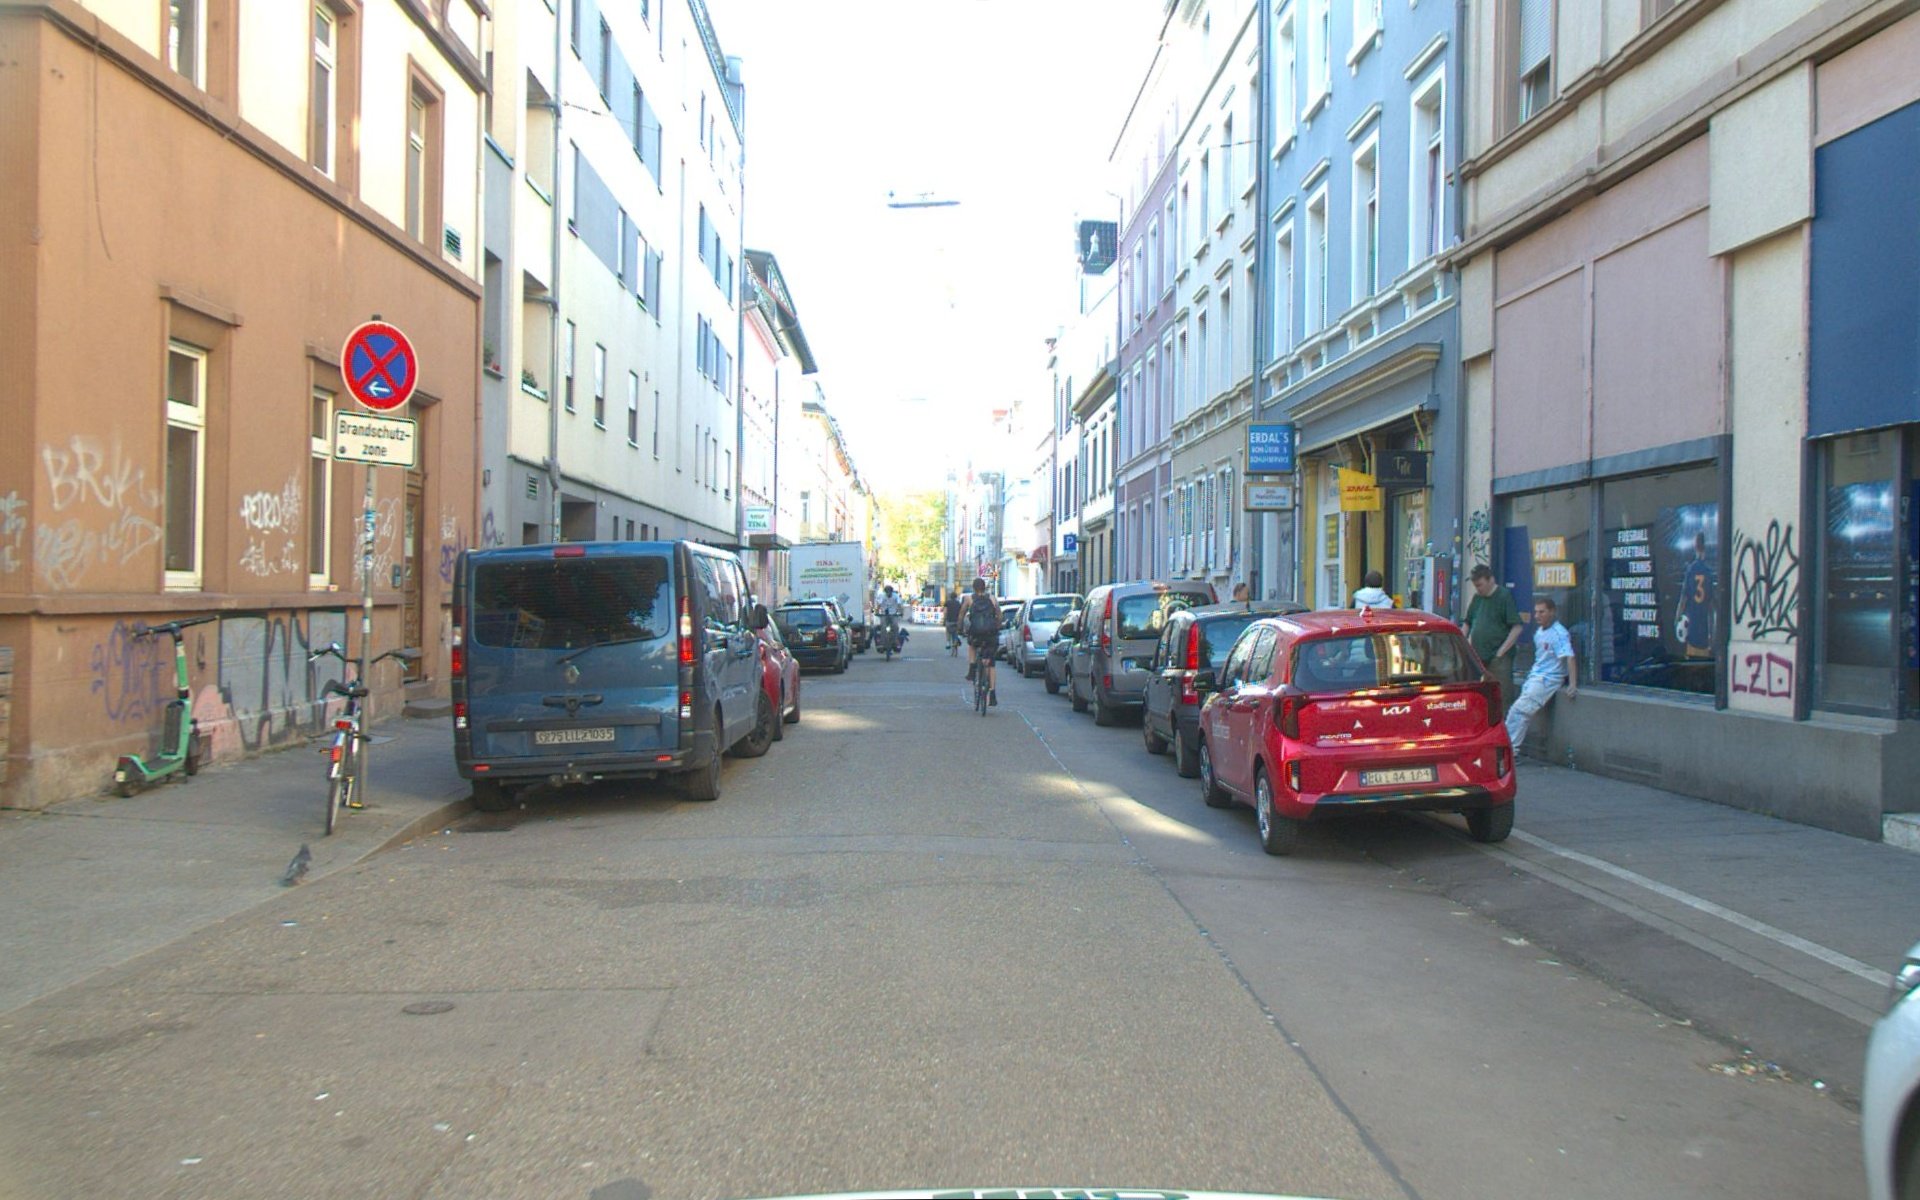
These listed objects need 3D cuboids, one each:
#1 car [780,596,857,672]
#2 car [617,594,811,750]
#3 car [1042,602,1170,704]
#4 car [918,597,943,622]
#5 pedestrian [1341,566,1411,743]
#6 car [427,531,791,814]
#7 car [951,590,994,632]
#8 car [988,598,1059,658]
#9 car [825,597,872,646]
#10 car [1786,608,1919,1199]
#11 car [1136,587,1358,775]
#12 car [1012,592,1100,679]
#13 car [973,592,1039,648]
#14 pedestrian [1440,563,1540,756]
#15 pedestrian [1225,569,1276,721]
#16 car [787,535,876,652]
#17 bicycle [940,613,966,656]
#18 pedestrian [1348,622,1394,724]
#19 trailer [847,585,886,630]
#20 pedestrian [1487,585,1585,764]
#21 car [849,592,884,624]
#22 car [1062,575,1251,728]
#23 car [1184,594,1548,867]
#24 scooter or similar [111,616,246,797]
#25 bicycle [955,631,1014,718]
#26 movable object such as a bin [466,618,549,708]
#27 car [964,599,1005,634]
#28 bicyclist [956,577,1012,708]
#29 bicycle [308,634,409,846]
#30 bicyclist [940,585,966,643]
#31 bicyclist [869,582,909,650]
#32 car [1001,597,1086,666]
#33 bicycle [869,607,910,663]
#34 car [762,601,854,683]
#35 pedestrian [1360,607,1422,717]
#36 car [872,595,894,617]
[{"bbox_3d":[-3.482,0.808,41.310,1.682,1.679,4.244,-2,1,-2],"label":"car"},{"bbox_3d":[-2.740,0.770,19.172,1.715,1.548,3.867,-3,-1,-2],"label":"car"},{"bbox_3d":[2.354,0.835,27.455,1.522,1.537,3.608,2,-1,-4],"label":"car"},{"bbox_3d":[-1.980,0.660,111.653,1.579,1.587,3.608,2,-1,-2],"label":"car"},{"bbox_3d":[4.238,0.548,16.863,0.550,1.771,0.427,2,-1,-4],"label":"pedestrian"},{"bbox_3d":[-2.709,0.488,14.161,1.979,1.912,5.296,2,0,0],"label":"car"},{"bbox_3d":[0.580,0.514,78.167,1.716,1.911,3.969,0,0,-4],"label":"car"},{"bbox_3d":[1.744,0.774,46.438,1.652,1.570,4.044,-1,0,-2],"label":"car"},{"bbox_3d":[-4.406,0.863,65.864,1.717,1.848,4.076,-1,0,-3],"label":"car"},{"bbox_3d":[2.978,0.802,1.916,1.752,1.542,4.133,2,-1,-4],"label":"car"},{"bbox_3d":[2.699,0.729,16.212,1.538,1.584,3.314,-3,-1,0],"label":"car"},{"bbox_3d":[2.015,0.742,35.528,1.525,1.742,3.557,2,-1,-2],"label":"car"},{"bbox_3d":[1.477,0.636,54.380,1.879,1.736,4.364,1,0,-2],"label":"car"},{"bbox_3d":[4.986,0.558,15.589,0.618,1.771,0.656,2,-1,-15],"label":"pedestrian"},{"bbox_3d":[3.402,0.520,19.384,0.432,1.734,0.654,1,-1,-1],"label":"pedestrian"},{"bbox_3d":[-3.913,-0.153,51.717,2.296,3.349,7.152,-1,0,-1],"label":"car"},{"bbox_3d":[-0.196,0.950,46.457,0.635,1.149,2.135,2,-1,-2],"label":"bicycle"},{"bbox_3d":[5.123,0.898,20.622,0.429,1.244,0.514,1,-1,0],"label":"pedestrian"},{"bbox_3d":[-4.570,0.358,81.258,1.844,2.129,3.735,0,0,-2],"label":"trailer"},{"bbox_3d":[5.164,0.660,14.857,0.576,1.556,0.658,2,-1,-7],"label":"pedestrian"},{"bbox_3d":[-4.800,0.426,85.498,1.715,1.600,3.794,0,0,-2],"label":"car"},{"bbox_3d":[2.541,0.644,22.416,1.861,1.825,4.313,2,-1,-2],"label":"car"},{"bbox_3d":[2.686,0.799,11.720,1.574,1.600,3.552,2,-1,-2],"label":"car"},{"bbox_3d":[-5.709,0.743,12.145,0.340,1.238,1.391,2,-1,-2],"label":"scooter or similar"},{"bbox_3d":[0.317,0.980,22.345,0.663,1.093,1.941,2,-1,-2],"label":"bicycle"},{"bbox_3d":[-5.685,0.784,20.781,0.743,1.085,0.652,1,-1,18],"label":"movable object such as a bin"},{"bbox_3d":[1.061,0.729,73.118,1.714,1.513,3.799,0,0,-1],"label":"car"},{"bbox_3d":[0.320,0.560,22.346,0.654,1.706,1.096,2,-1,-2],"label":"bicyclist"},{"bbox_3d":[-3.969,0.868,10.986,0.542,1.238,1.977,2,-1,-19],"label":"bicycle"},{"bbox_3d":[-0.195,0.387,46.437,0.657,1.595,0.716,2,-1,-4],"label":"bicyclist"},{"bbox_3d":[-1.779,0.395,41.737,0.931,1.656,0.953,-1,0,0],"label":"bicyclist"},{"bbox_3d":[2.007,0.745,40.861,1.663,1.570,4.626,-1,0,-2],"label":"car"},{"bbox_3d":[-1.767,0.871,42.010,0.957,1.337,2.555,-1,0,-1],"label":"bicycle"},{"bbox_3d":[-3.203,0.844,35.462,1.682,1.504,4.497,-2,1,-2],"label":"car"},{"bbox_3d":[5.009,0.710,19.213,0.521,1.244,0.512,1,-1,38],"label":"pedestrian"},{"bbox_3d":[-6.260,0.512,134.672,1.715,1.713,3.794,0,0,-2],"label":"car"}]
